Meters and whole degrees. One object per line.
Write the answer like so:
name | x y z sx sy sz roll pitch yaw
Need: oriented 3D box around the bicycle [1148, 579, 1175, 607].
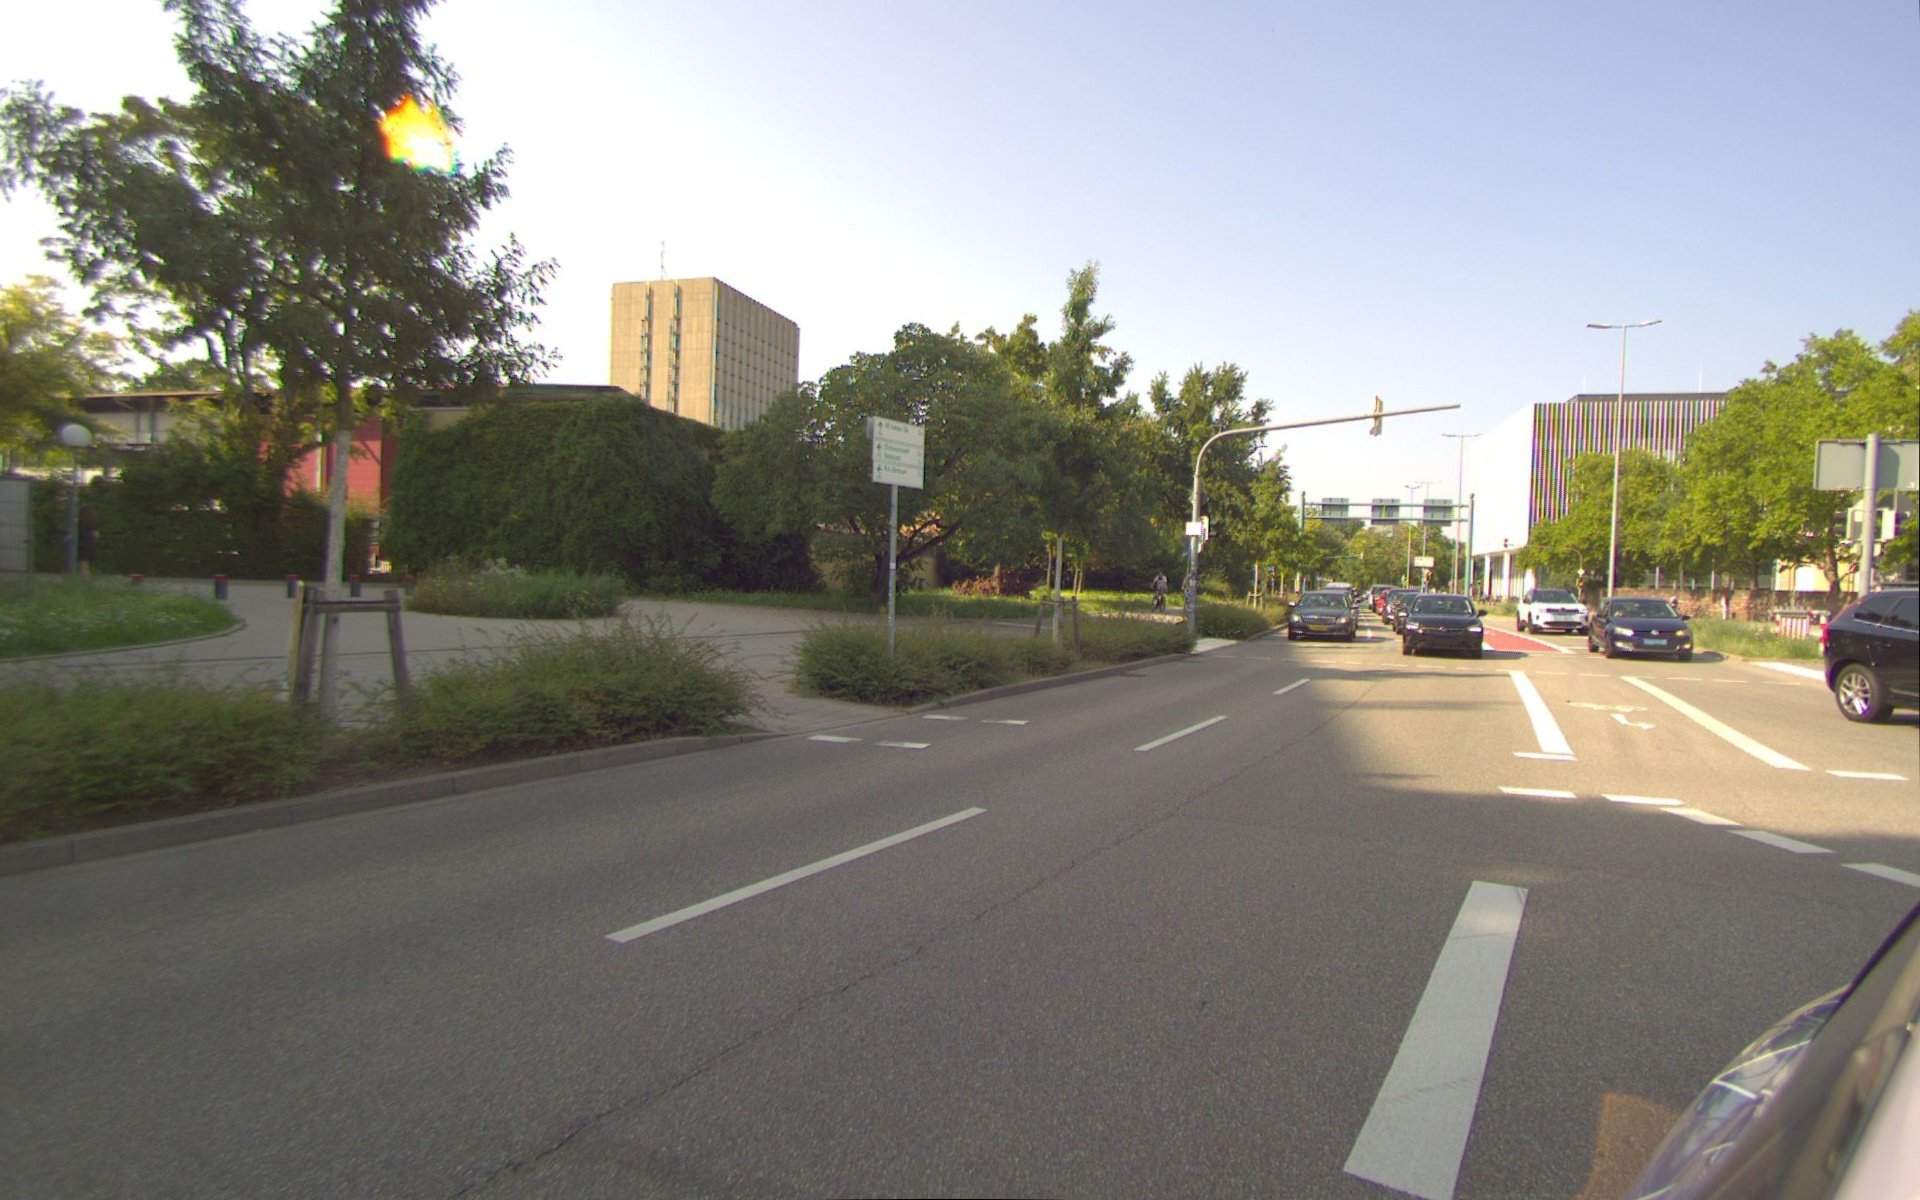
bicycle | 8.661 -0.297 43.408 0.764 1.131 2.289 3 2 20

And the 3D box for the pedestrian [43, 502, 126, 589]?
pedestrian | -18.524 -1.150 21.416 0.991 1.755 0.954 4 2 21

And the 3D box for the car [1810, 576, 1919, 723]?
car | 11.716 0.568 10.778 1.966 1.654 4.364 1 0 7

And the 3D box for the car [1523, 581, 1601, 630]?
car | 21.900 0.154 36.953 1.979 1.654 4.335 0 1 25

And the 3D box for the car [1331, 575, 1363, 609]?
car | 24.282 -0.524 63.610 1.667 1.965 4.345 3 2 19

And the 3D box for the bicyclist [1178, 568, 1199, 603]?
bicyclist | 10.804 -0.698 47.802 0.765 1.612 0.917 2 1 23

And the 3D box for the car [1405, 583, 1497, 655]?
car | 11.721 0.371 24.379 1.669 1.510 4.339 3 2 23

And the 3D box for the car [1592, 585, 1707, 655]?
car | 16.411 0.408 24.257 1.608 1.516 3.818 1 1 25

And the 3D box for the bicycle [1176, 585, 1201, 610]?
bicycle | 10.804 -0.145 47.850 0.765 1.131 2.286 2 1 22

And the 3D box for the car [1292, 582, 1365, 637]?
car | 11.013 0.229 30.066 1.670 1.460 4.335 3 2 25

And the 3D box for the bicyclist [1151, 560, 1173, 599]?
bicyclist | 8.642 -0.869 43.294 0.764 1.612 0.918 2 1 20

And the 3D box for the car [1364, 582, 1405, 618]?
car | 22.128 -0.027 52.831 1.763 1.625 4.392 3 3 21

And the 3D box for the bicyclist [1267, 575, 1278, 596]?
bicyclist | 25.005 -1.151 80.888 0.764 1.697 0.918 2 1 20

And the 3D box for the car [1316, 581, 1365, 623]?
car | 15.150 0.025 40.215 1.668 1.510 4.639 3 2 22

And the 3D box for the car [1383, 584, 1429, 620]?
car | 20.112 0.047 45.764 1.668 1.510 4.341 3 2 21
